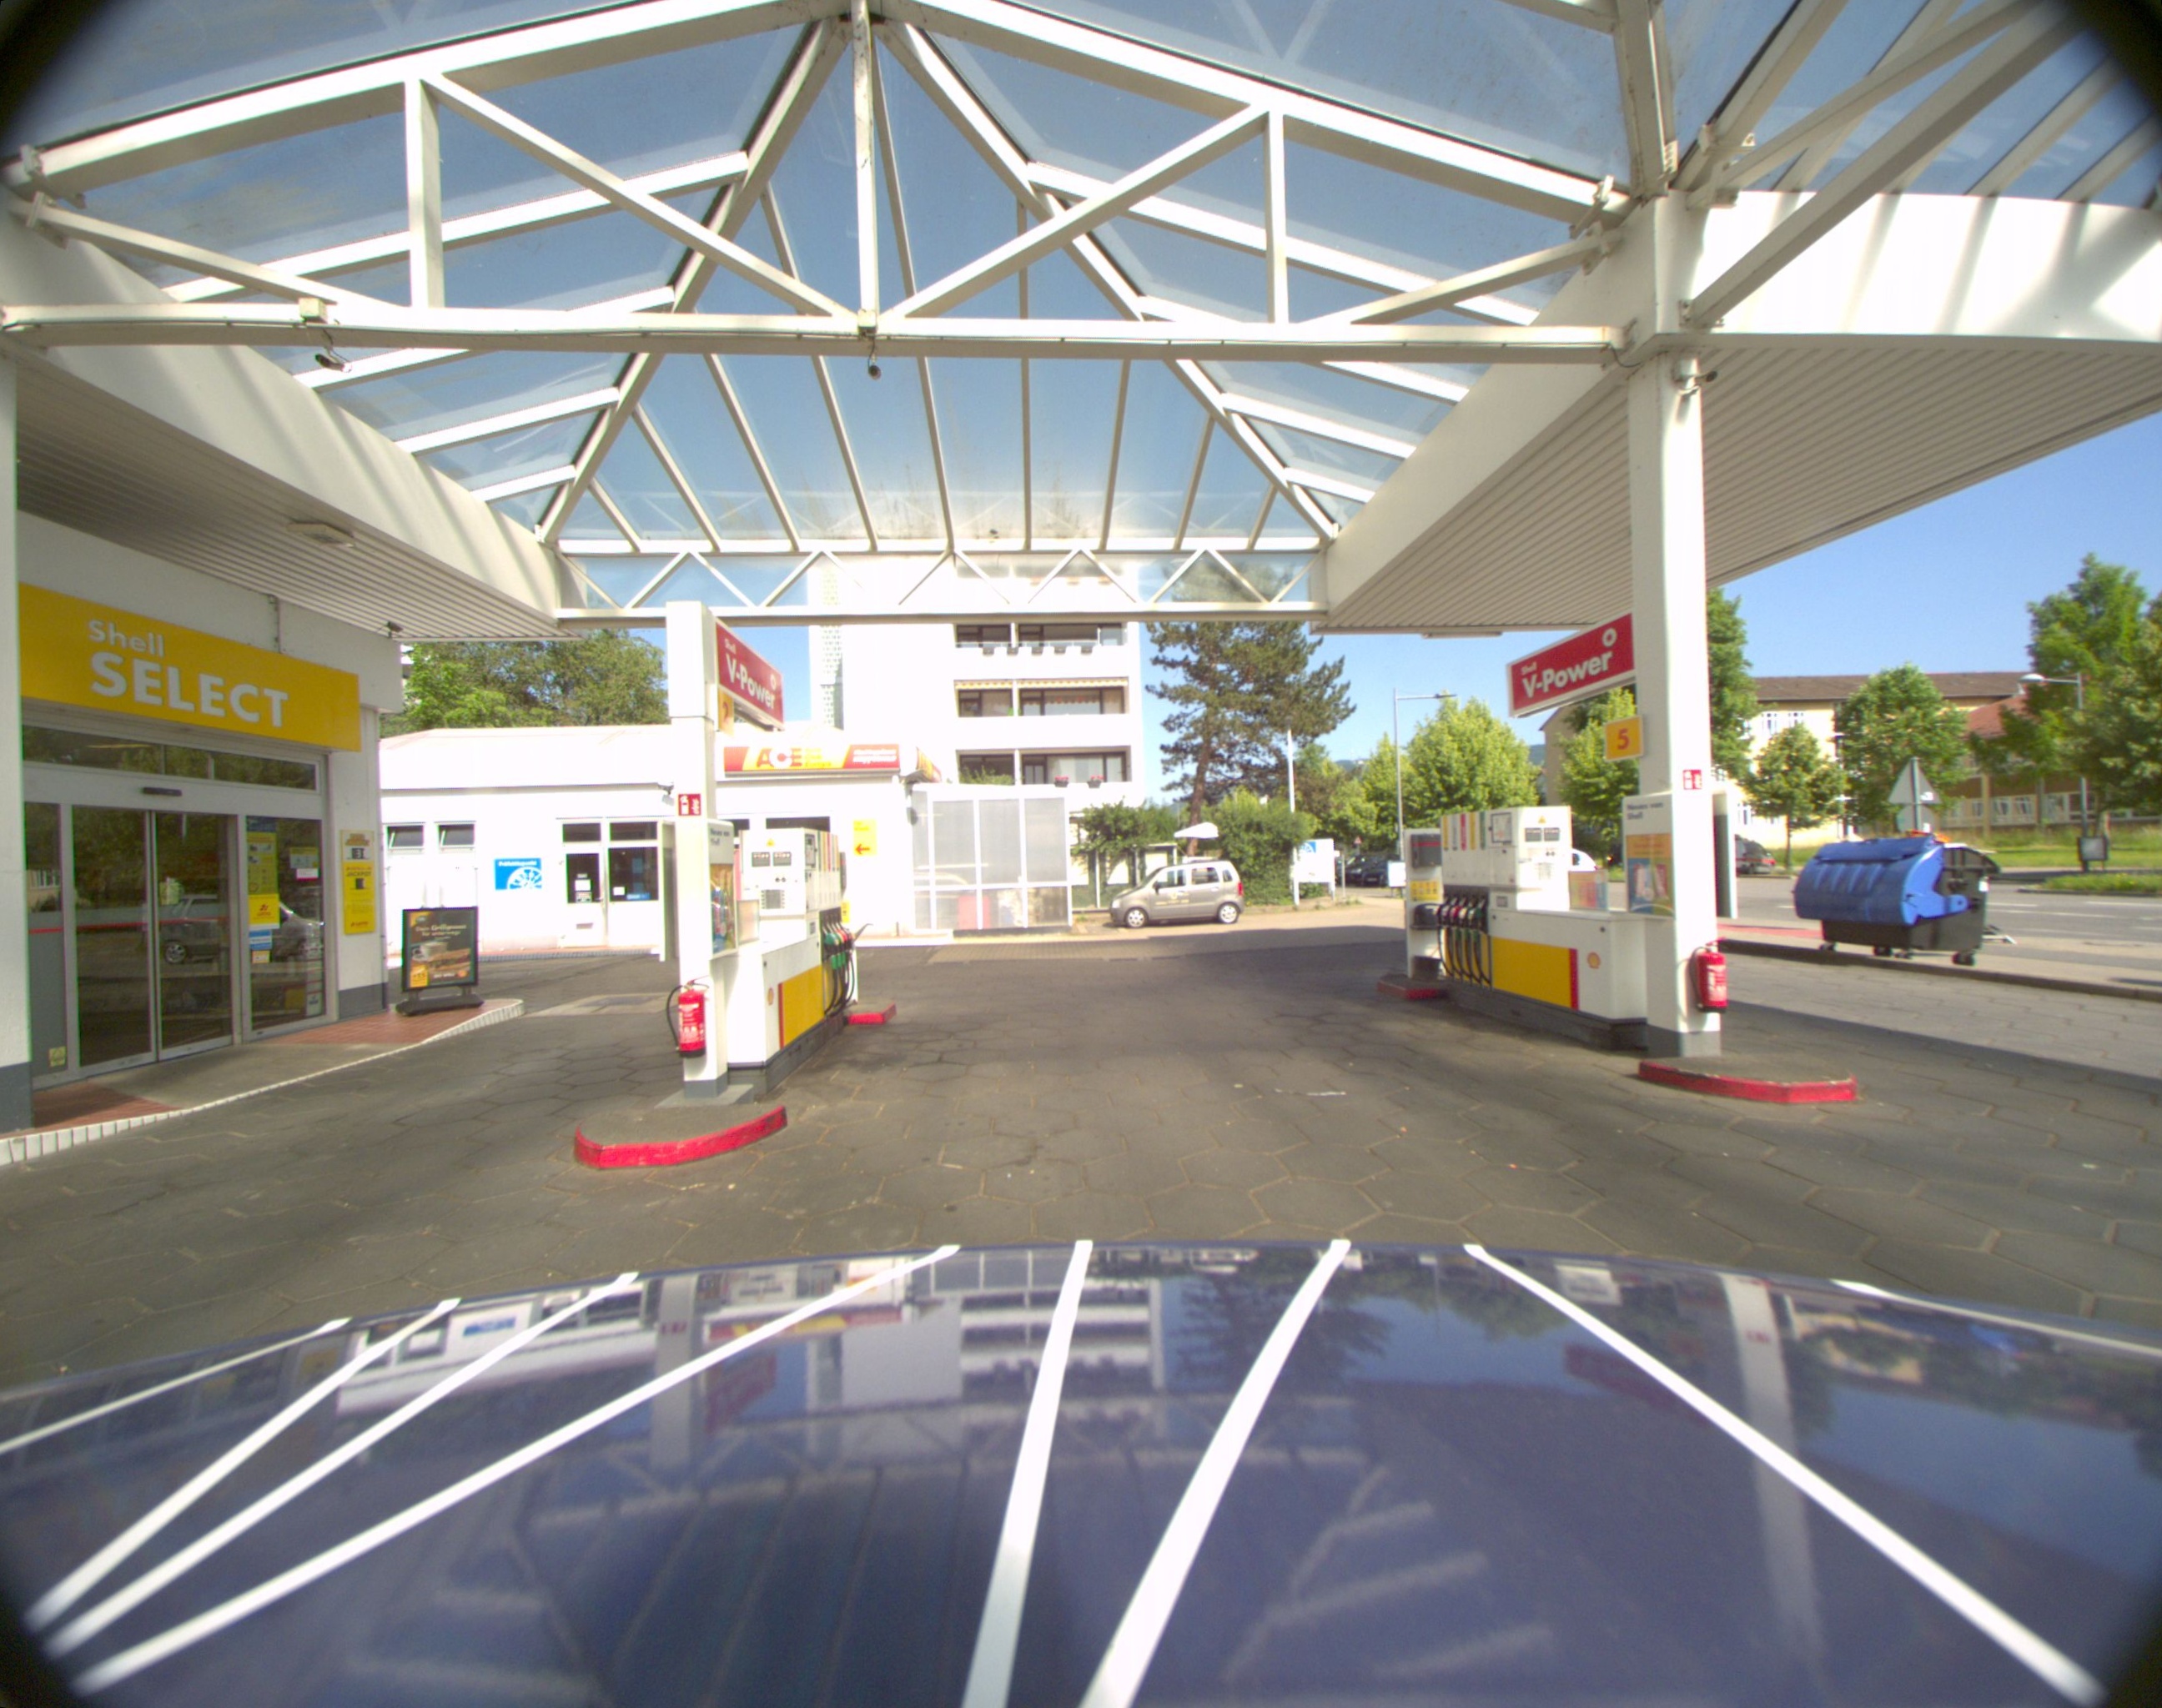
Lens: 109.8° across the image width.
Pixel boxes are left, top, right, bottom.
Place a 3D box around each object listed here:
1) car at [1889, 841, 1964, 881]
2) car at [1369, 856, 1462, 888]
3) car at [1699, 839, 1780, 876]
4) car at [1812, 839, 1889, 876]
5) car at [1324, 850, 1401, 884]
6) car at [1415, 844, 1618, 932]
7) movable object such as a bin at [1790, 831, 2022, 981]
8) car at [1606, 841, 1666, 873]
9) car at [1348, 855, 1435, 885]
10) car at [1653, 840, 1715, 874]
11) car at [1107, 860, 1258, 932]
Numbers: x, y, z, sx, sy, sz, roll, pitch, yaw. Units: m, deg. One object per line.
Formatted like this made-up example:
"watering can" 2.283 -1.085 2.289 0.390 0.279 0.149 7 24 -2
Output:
"car" 32.804 0.254 29.437 4.234 1.451 1.737 0 0 -39
"car" 15.831 0.810 35.922 4.233 1.408 1.877 0 0 -30
"car" 32.363 0.164 37.323 4.233 1.712 1.876 0 1 -32
"car" 32.595 0.130 32.160 4.234 1.451 1.876 0 1 -39
"car" 15.259 0.669 41.157 4.411 1.710 1.700 -1 0 -35
"car" 9.895 0.704 17.219 4.313 1.696 1.958 -2 -1 -28
"movable object such as a bin" 9.896 0.586 9.201 1.342 1.678 1.337 0 0 -2
"car" 30.703 0.151 42.003 4.235 1.712 1.876 0 0 -42
"car" 15.813 0.782 38.679 4.232 1.473 1.877 0 0 -30
"car" 31.996 0.156 40.283 4.235 1.712 1.876 0 0 -42
"car" 2.604 1.068 20.126 3.660 1.607 1.692 -3 0 -2
